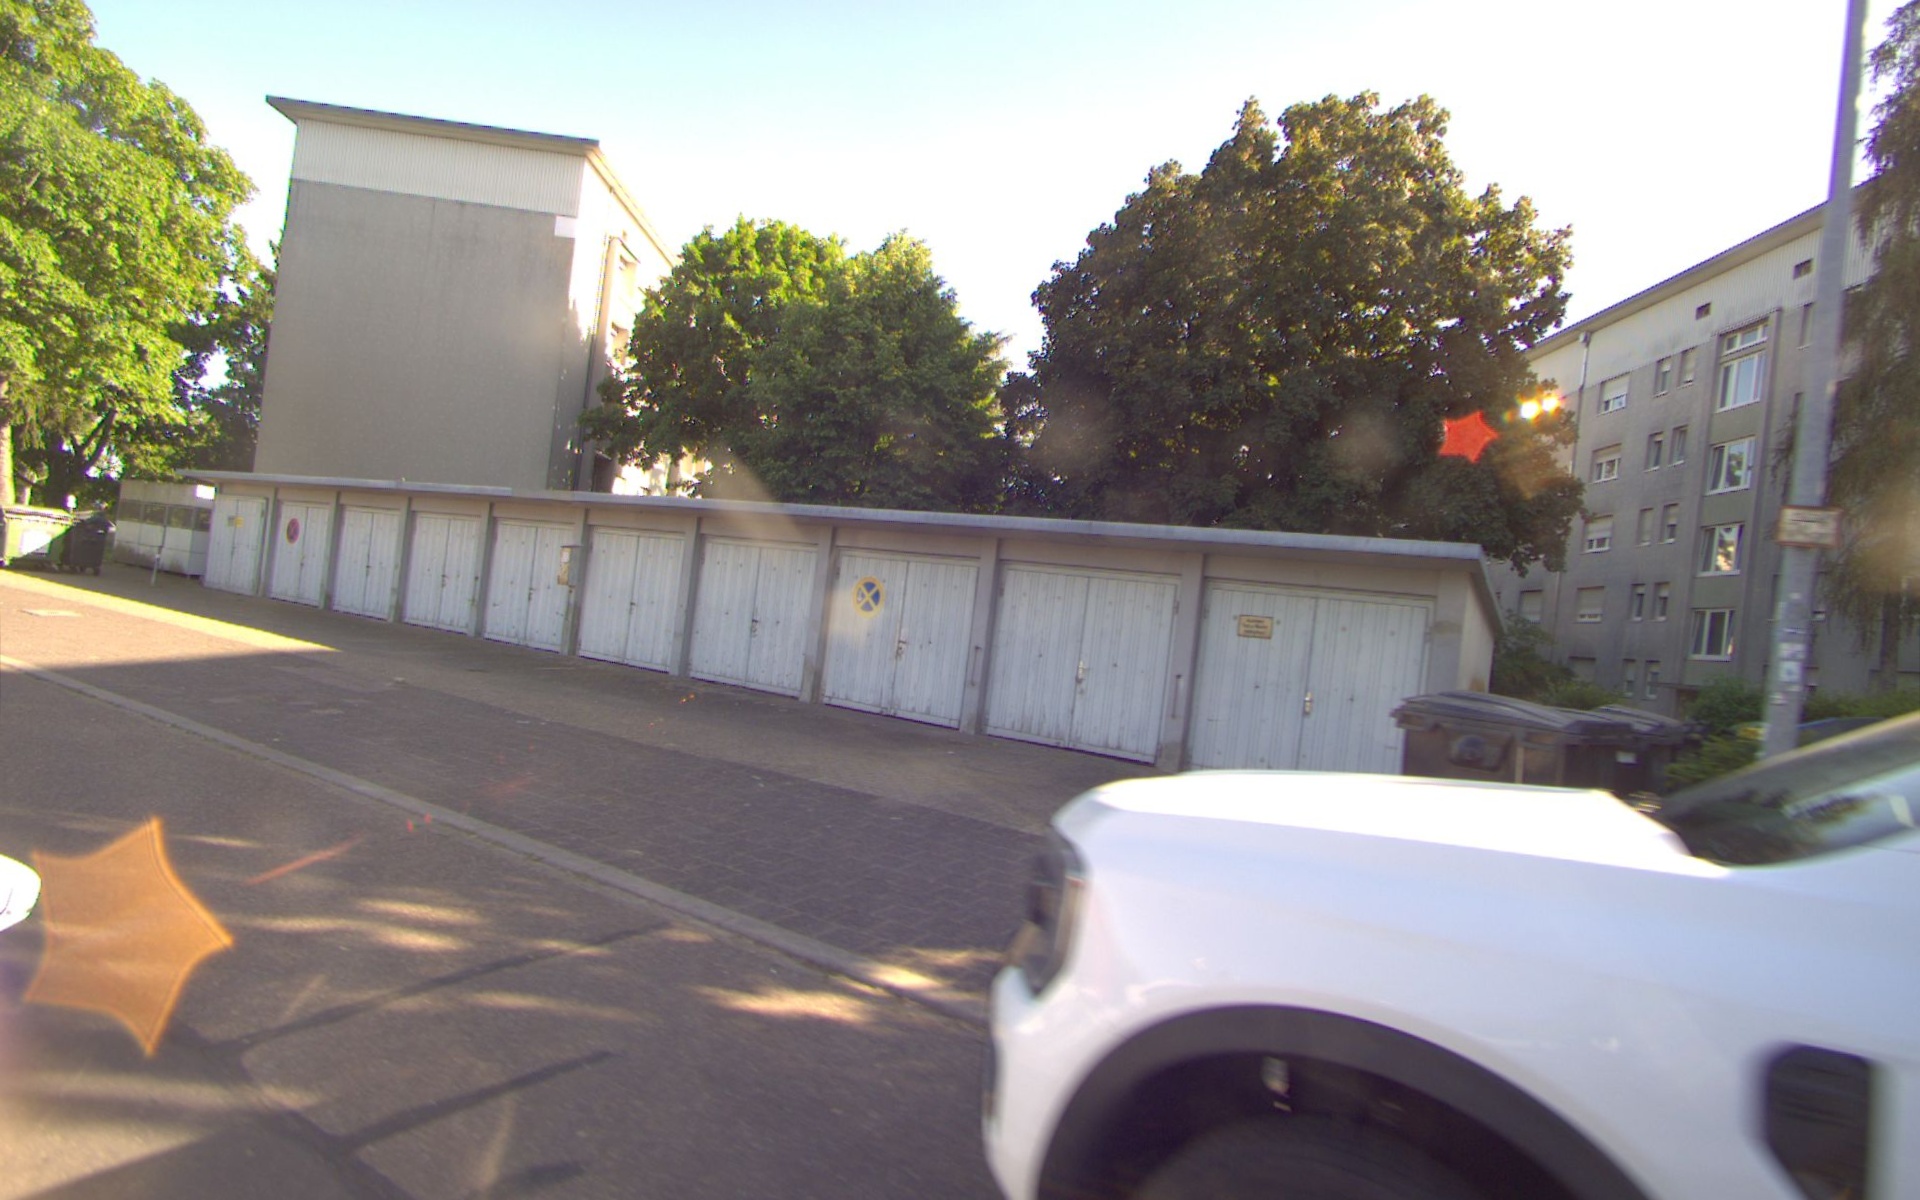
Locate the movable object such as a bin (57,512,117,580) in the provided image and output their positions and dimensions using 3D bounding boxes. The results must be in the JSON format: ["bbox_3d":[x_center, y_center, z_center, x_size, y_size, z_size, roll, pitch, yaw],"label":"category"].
[{"bbox_3d":[-20.202,-1.248,23.279,0.677,1.432,0.725,6,-1,28],"label":"movable object such as a bin"}]

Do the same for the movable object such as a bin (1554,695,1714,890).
[{"bbox_3d":[5.524,1.527,8.229,0.853,1.363,1.074,5,-2,42],"label":"movable object such as a bin"}]

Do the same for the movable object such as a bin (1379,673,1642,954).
[{"bbox_3d":[3.334,1.201,6.059,1.039,1.363,1.248,5,-2,42],"label":"movable object such as a bin"}]

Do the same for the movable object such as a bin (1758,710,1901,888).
[{"bbox_3d":[8.047,1.801,9.364,0.821,1.433,1.076,5,-2,36],"label":"movable object such as a bin"}]

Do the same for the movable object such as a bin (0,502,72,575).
[{"bbox_3d":[-20.826,-1.369,22.366,0.935,1.432,1.277,6,-2,28],"label":"movable object such as a bin"}]

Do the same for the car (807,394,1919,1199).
[{"bbox_3d":[2.481,0.906,1.459,5.185,1.860,1.912,7,-3,30],"label":"car"}]

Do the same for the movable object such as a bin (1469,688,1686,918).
[{"bbox_3d":[4.482,1.397,7.277,1.039,1.363,1.248,5,-2,42],"label":"movable object such as a bin"}]

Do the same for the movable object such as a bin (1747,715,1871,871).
[{"bbox_3d":[8.858,1.975,10.547,0.821,1.433,1.076,5,-2,36],"label":"movable object such as a bin"}]

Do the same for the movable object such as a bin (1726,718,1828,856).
[{"bbox_3d":[9.470,2.137,11.697,0.695,1.433,0.898,5,-2,31],"label":"movable object such as a bin"}]
